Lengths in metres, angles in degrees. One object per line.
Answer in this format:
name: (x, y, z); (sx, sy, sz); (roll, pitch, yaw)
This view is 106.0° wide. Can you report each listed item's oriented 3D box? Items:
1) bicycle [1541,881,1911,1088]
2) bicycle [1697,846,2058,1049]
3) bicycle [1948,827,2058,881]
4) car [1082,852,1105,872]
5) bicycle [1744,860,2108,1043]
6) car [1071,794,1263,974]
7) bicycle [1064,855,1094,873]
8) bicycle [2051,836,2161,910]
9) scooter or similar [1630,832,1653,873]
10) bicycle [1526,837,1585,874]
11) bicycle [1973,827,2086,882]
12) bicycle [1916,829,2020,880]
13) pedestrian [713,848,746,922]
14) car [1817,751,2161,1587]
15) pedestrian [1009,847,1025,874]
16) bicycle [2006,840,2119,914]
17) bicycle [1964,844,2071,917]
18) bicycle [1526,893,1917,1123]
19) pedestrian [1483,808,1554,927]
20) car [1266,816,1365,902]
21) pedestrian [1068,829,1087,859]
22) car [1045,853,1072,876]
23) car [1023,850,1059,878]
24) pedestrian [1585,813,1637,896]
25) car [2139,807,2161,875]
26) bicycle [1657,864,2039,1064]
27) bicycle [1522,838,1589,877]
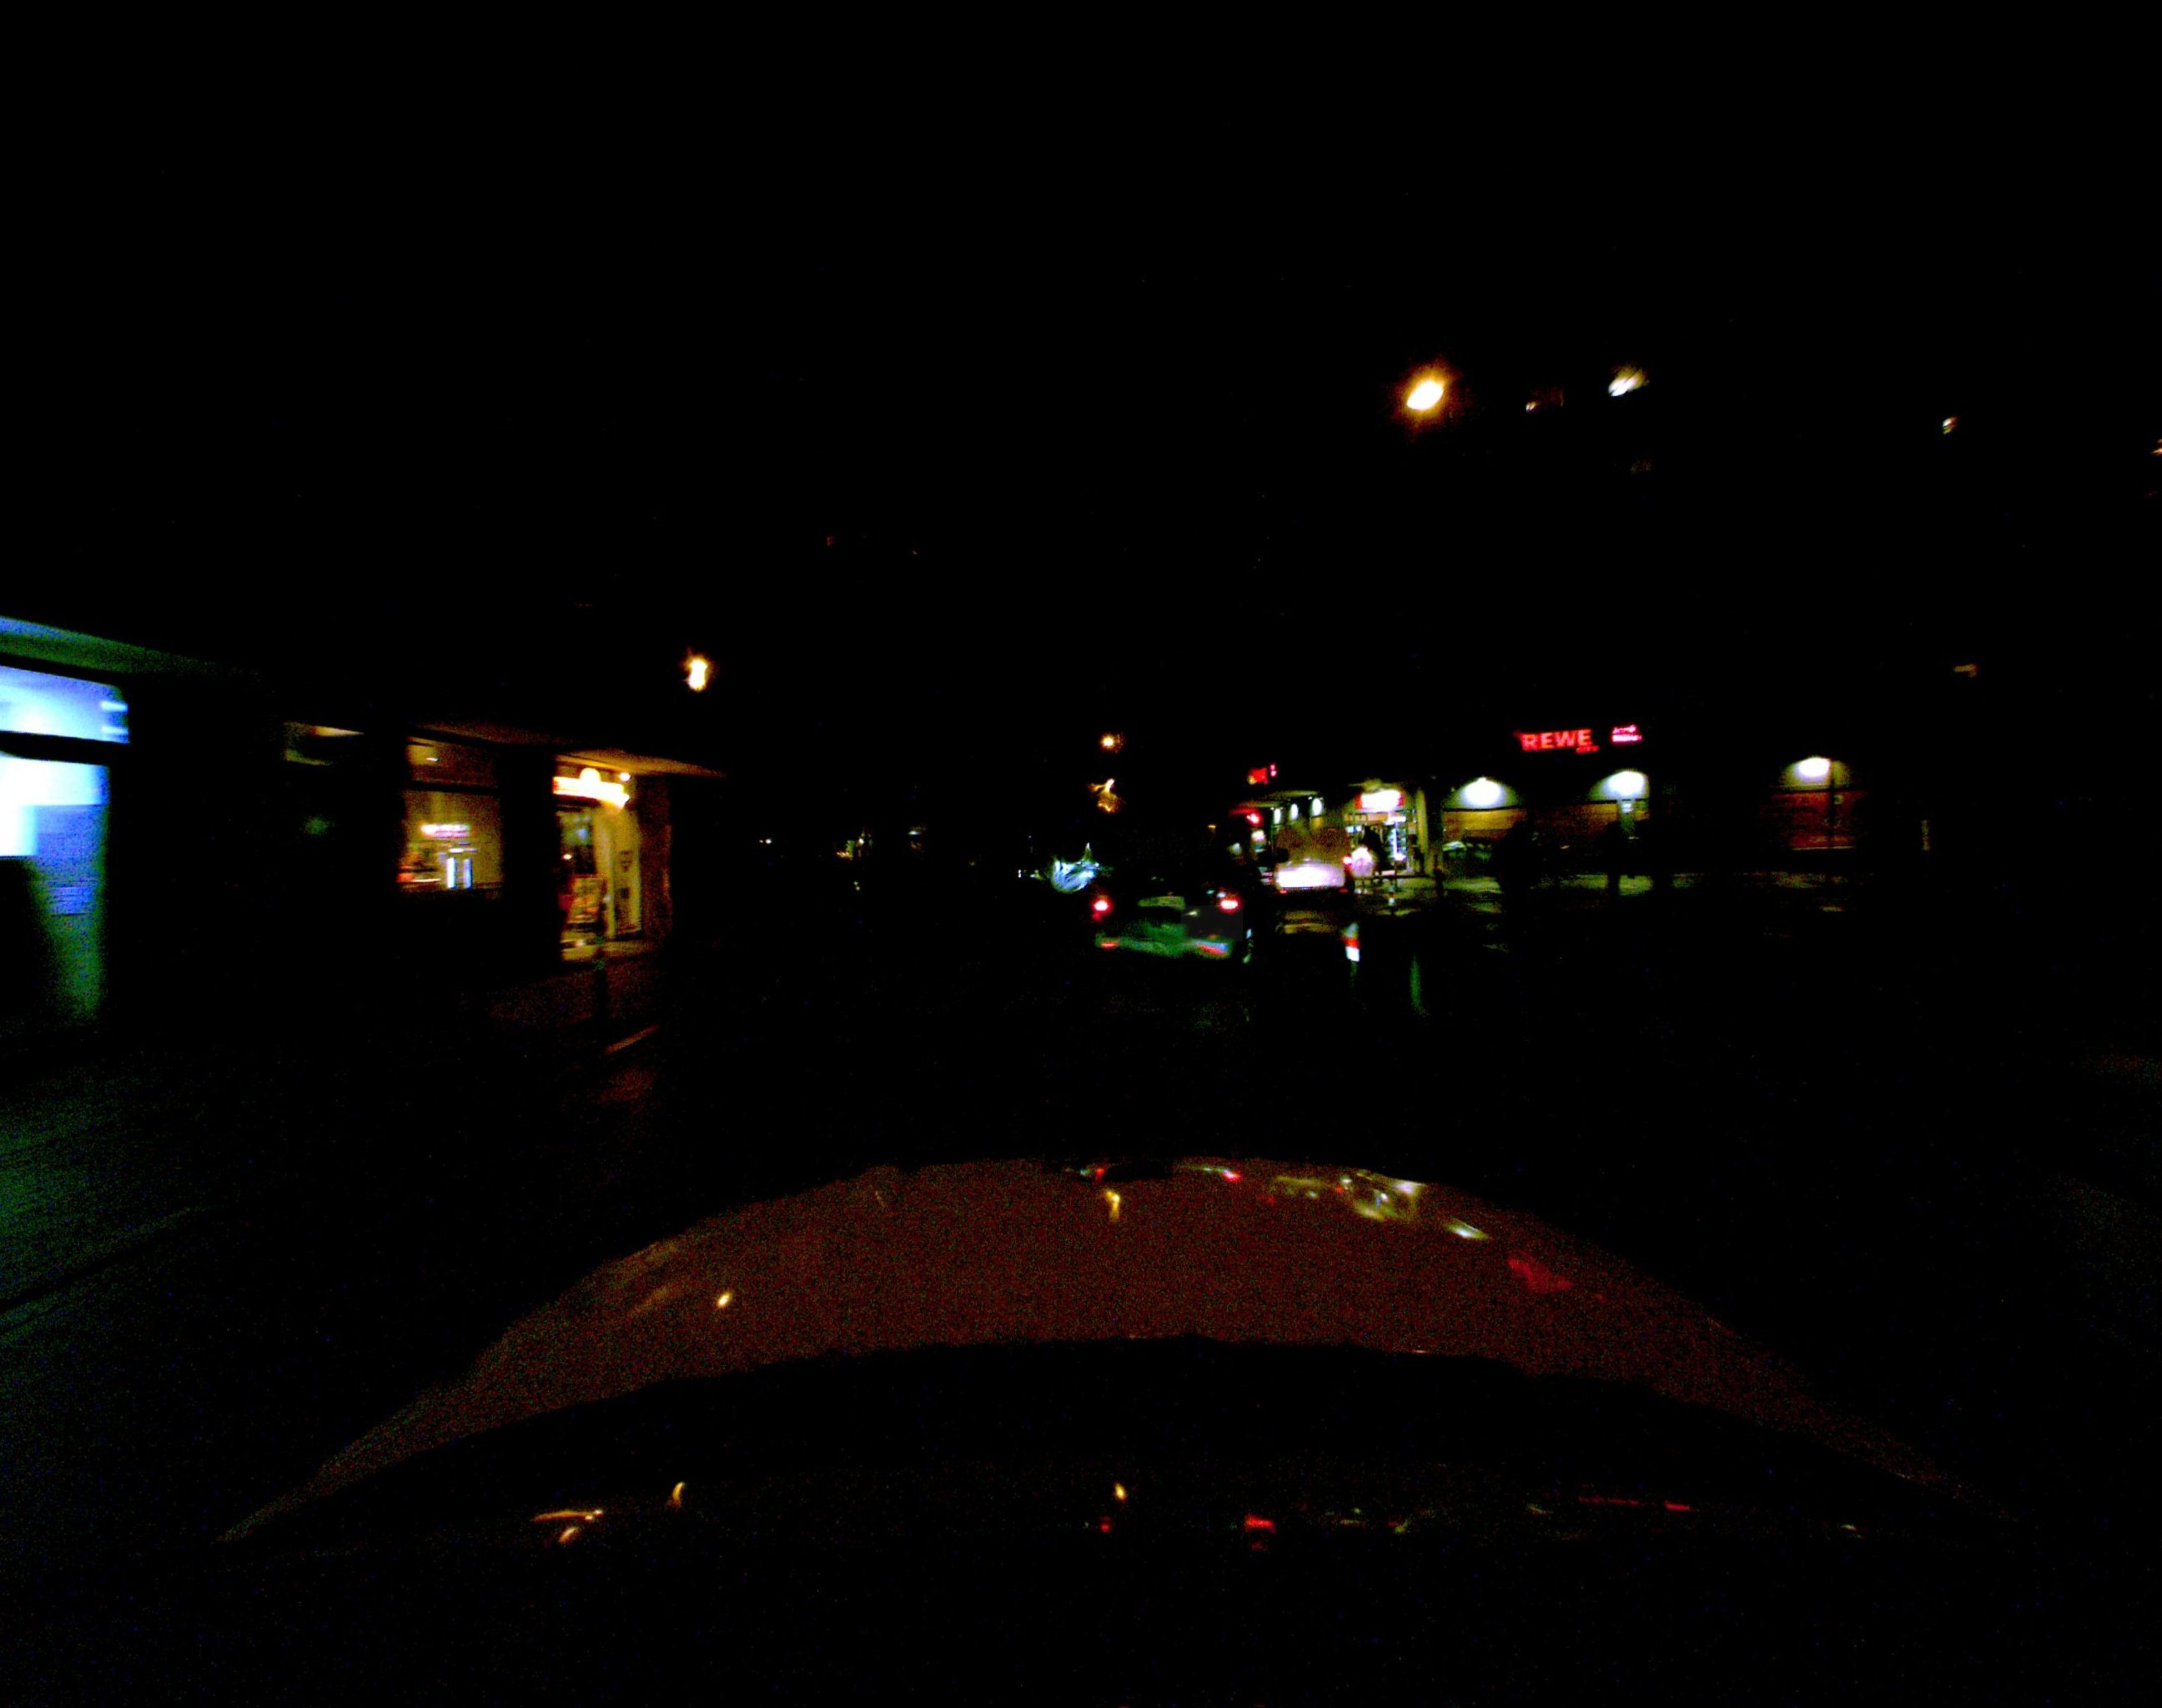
bicycle: (3.727, 0.716, 4.847); (0.338, 1.026, 1.626); (-3, -1, -43)
bicycle: (4.988, 0.512, 5.253); (0.336, 1.092, 1.633); (-3, 1, -24)
bicycle: (20.509, 0.007, 18.128); (1.953, 1.176, 0.452); (0, -1, -1)
car: (1.046, 0.588, 64.630); (1.556, 1.427, 4.073); (-3, 0, 3)
bicycle: (5.526, 0.587, 5.471); (0.336, 1.026, 1.633); (-3, -1, -24)
car: (1.401, 0.346, 11.434); (2.109, 1.991, 4.615); (-1, 0, 11)
bicycle: (-0.140, 0.603, 50.802); (1.788, 1.059, 0.715); (-2, 0, 3)
bicycle: (15.090, 0.261, 11.957); (0.398, 1.009, 1.821); (0, -1, 27)
scooter or similar: (17.292, -0.069, 25.150); (0.520, 1.229, 1.321); (0, 1, 32)
bicycle: (15.422, 0.045, 26.482); (1.626, 1.174, 0.386); (0, -2, 30)
bicycle: (20.541, 0.004, 17.649); (1.953, 1.176, 0.452); (0, -1, -1)
bicycle: (20.479, 0.012, 18.815); (1.953, 1.176, 0.452); (0, -1, -1)
pedestrian: (-9.248, 0.790, 21.414); (0.657, 1.909, 0.622); (-1, 0, -35)
car: (4.085, 0.463, 2.113); (4.272, 1.573, 1.756); (-4, 0, -27)
pedestrian: (-4.075, 0.412, 52.196); (0.799, 1.766, 1.018); (0, -1, 8)
bicycle: (14.708, 0.310, 12.256); (0.375, 1.008, 1.821); (-2, 1, 27)
bicycle: (14.278, 0.369, 12.464); (0.398, 1.008, 1.821); (-2, 1, 27)
bicycle: (3.414, 0.751, 4.482); (0.338, 1.026, 1.626); (-3, 1, -44)
pedestrian: (6.697, 0.202, 12.497); (0.820, 1.771, 0.602); (-1, 0, 14)
car: (5.902, 0.116, 20.796); (2.107, 1.922, 4.845); (-1, 0, 14)
pedestrian: (-0.214, -0.606, 50.790); (1.117, 1.811, 0.715); (-2, 0, 3)
car: (-1.490, 0.681, 54.799); (1.580, 1.449, 3.505); (-1, 0, 2)
car: (-2.207, 0.511, 45.642); (1.580, 1.463, 4.027); (1, 0, 2)
pedestrian: (12.131, 0.021, 18.631); (0.867, 1.833, 0.990); (-2, -1, 38)
car: (25.861, -0.319, 17.406); (1.745, 1.578, 3.694); (0, 0, 1)
bicycle: (4.595, 0.631, 5.046); (0.337, 1.027, 1.631); (-1, -4, -27)
bicycle: (14.840, 0.106, 25.495); (1.764, 1.174, 0.386); (-2, 0, 30)
